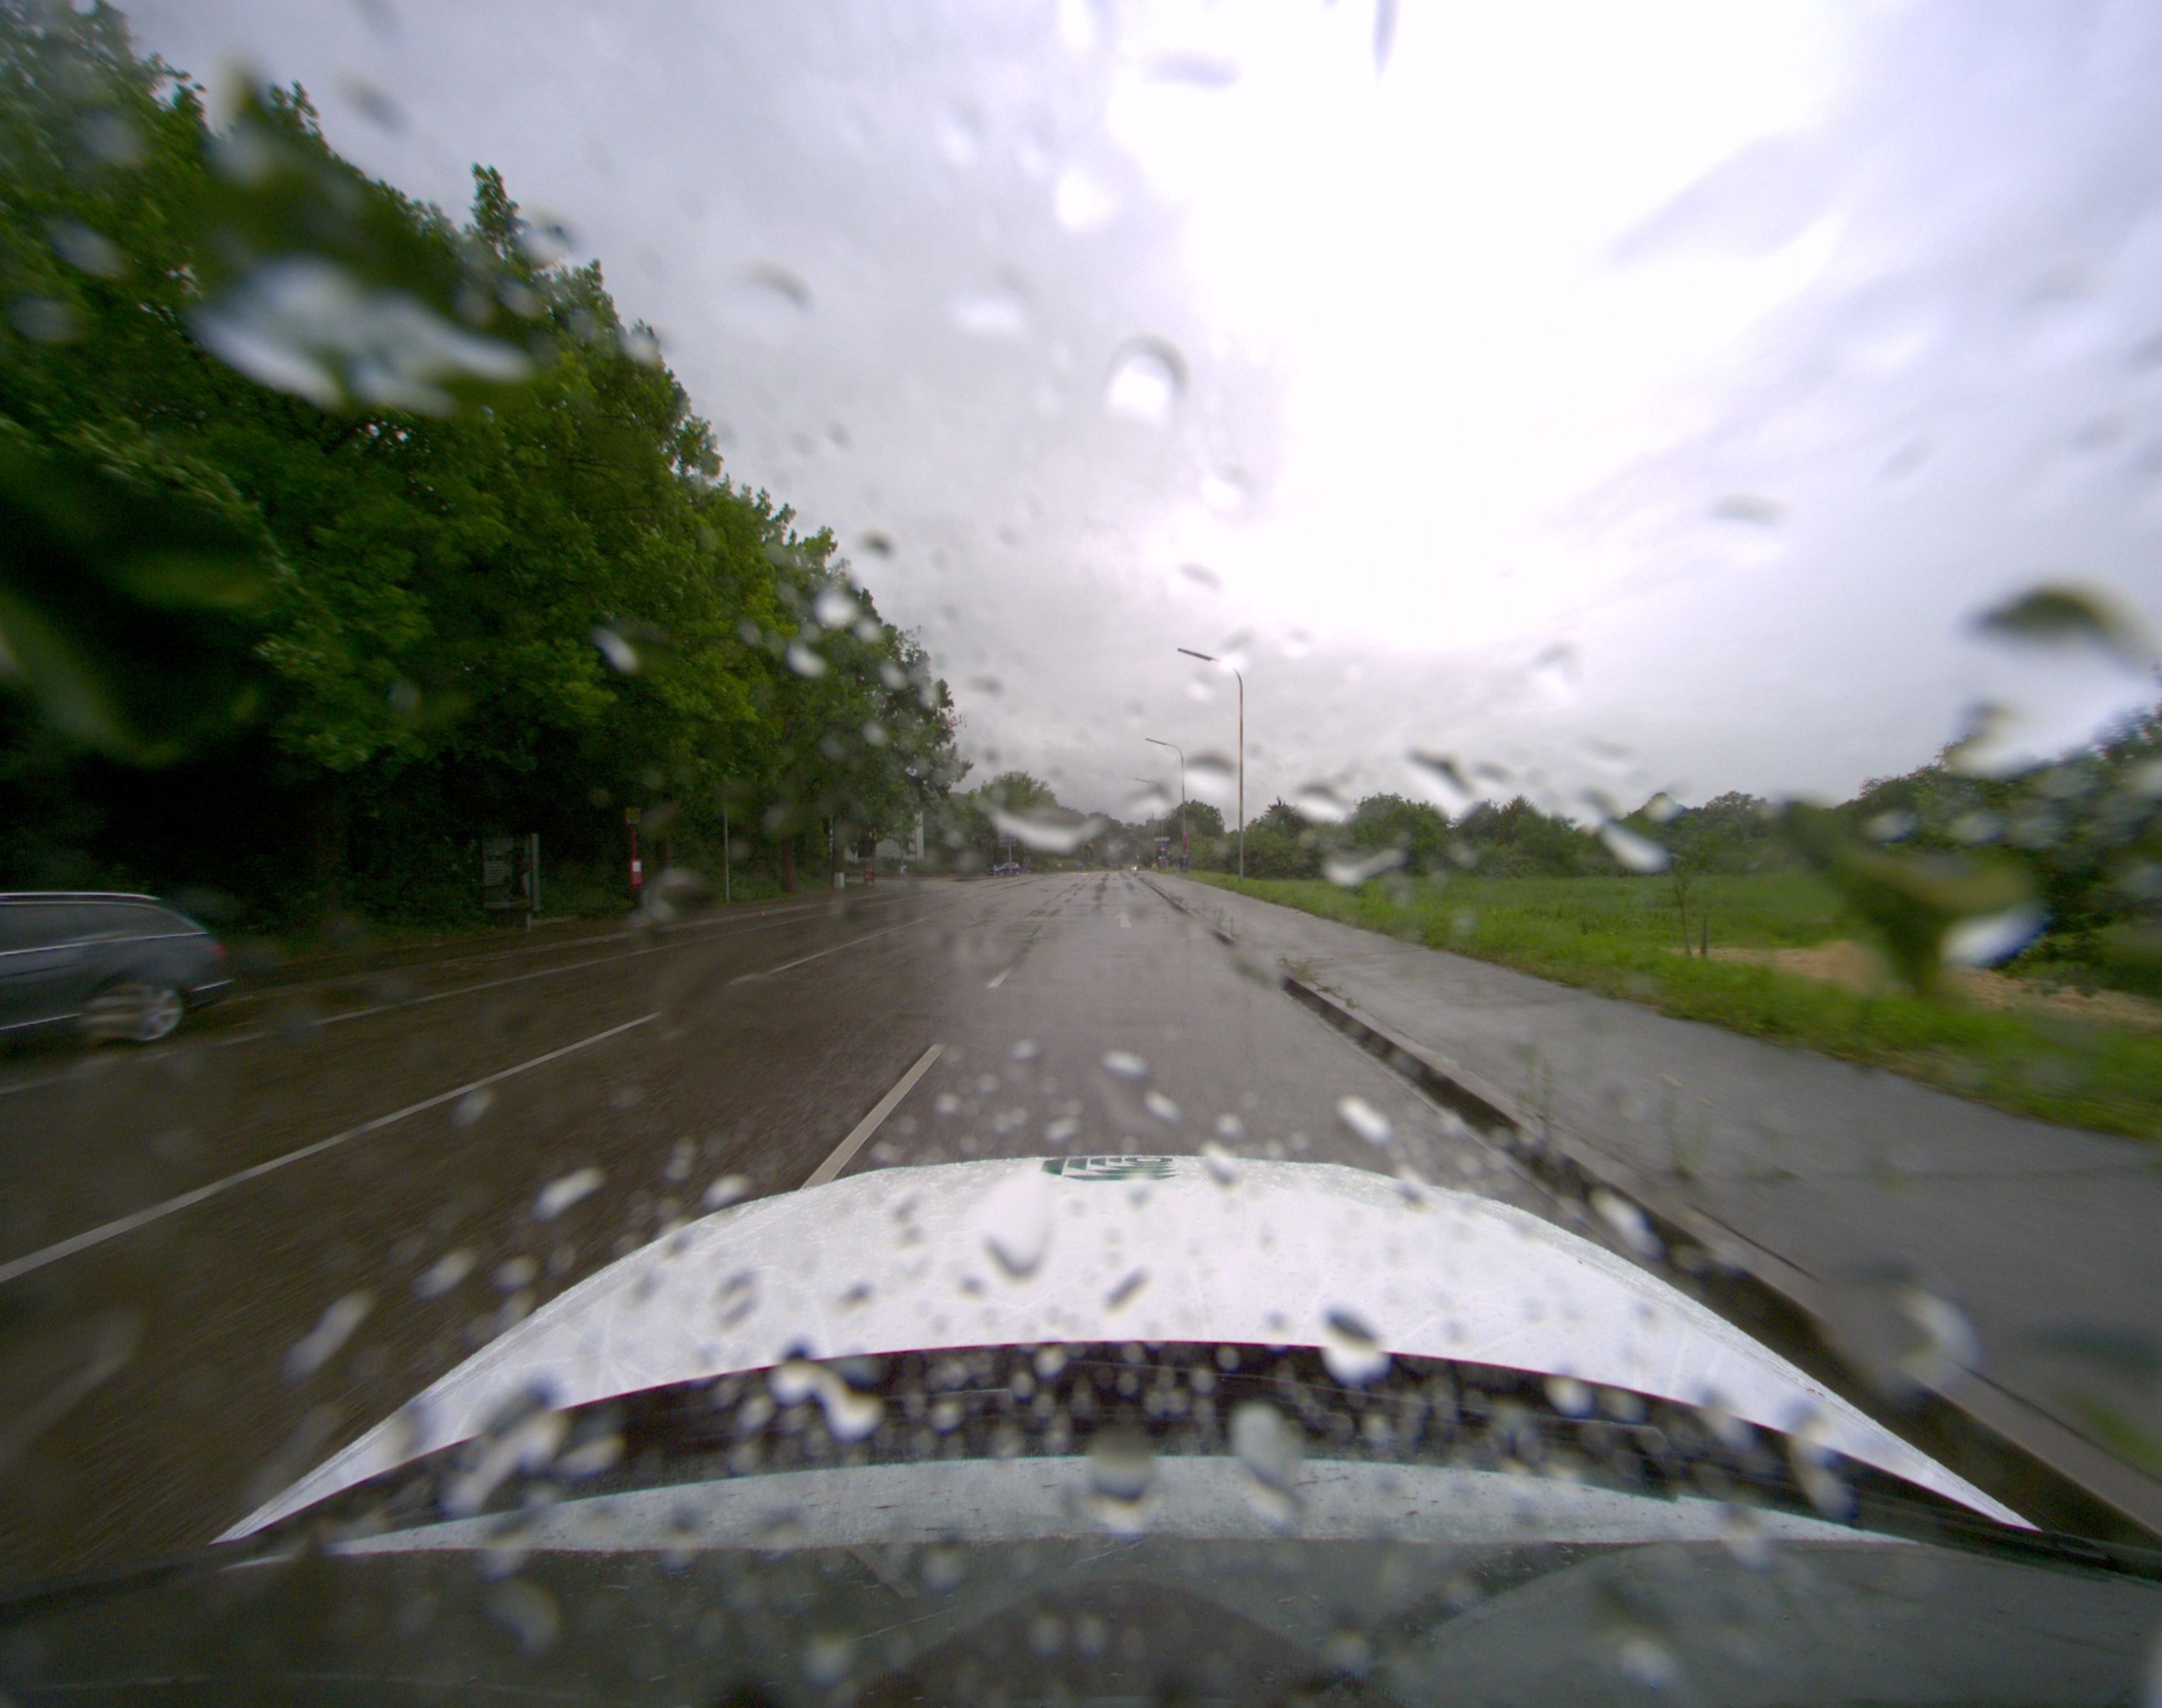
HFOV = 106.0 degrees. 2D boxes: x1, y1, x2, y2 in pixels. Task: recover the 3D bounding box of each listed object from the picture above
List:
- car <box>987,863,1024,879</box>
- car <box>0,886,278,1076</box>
[{"bbox_3d":[-8.792,1.950,95.107,4.018,1.762,1.780,-1,-1,-37],"label":"car"},{"bbox_3d":[-9.348,1.070,6.256,1.682,1.419,4.738,-2,0,-1],"label":"car"}]
